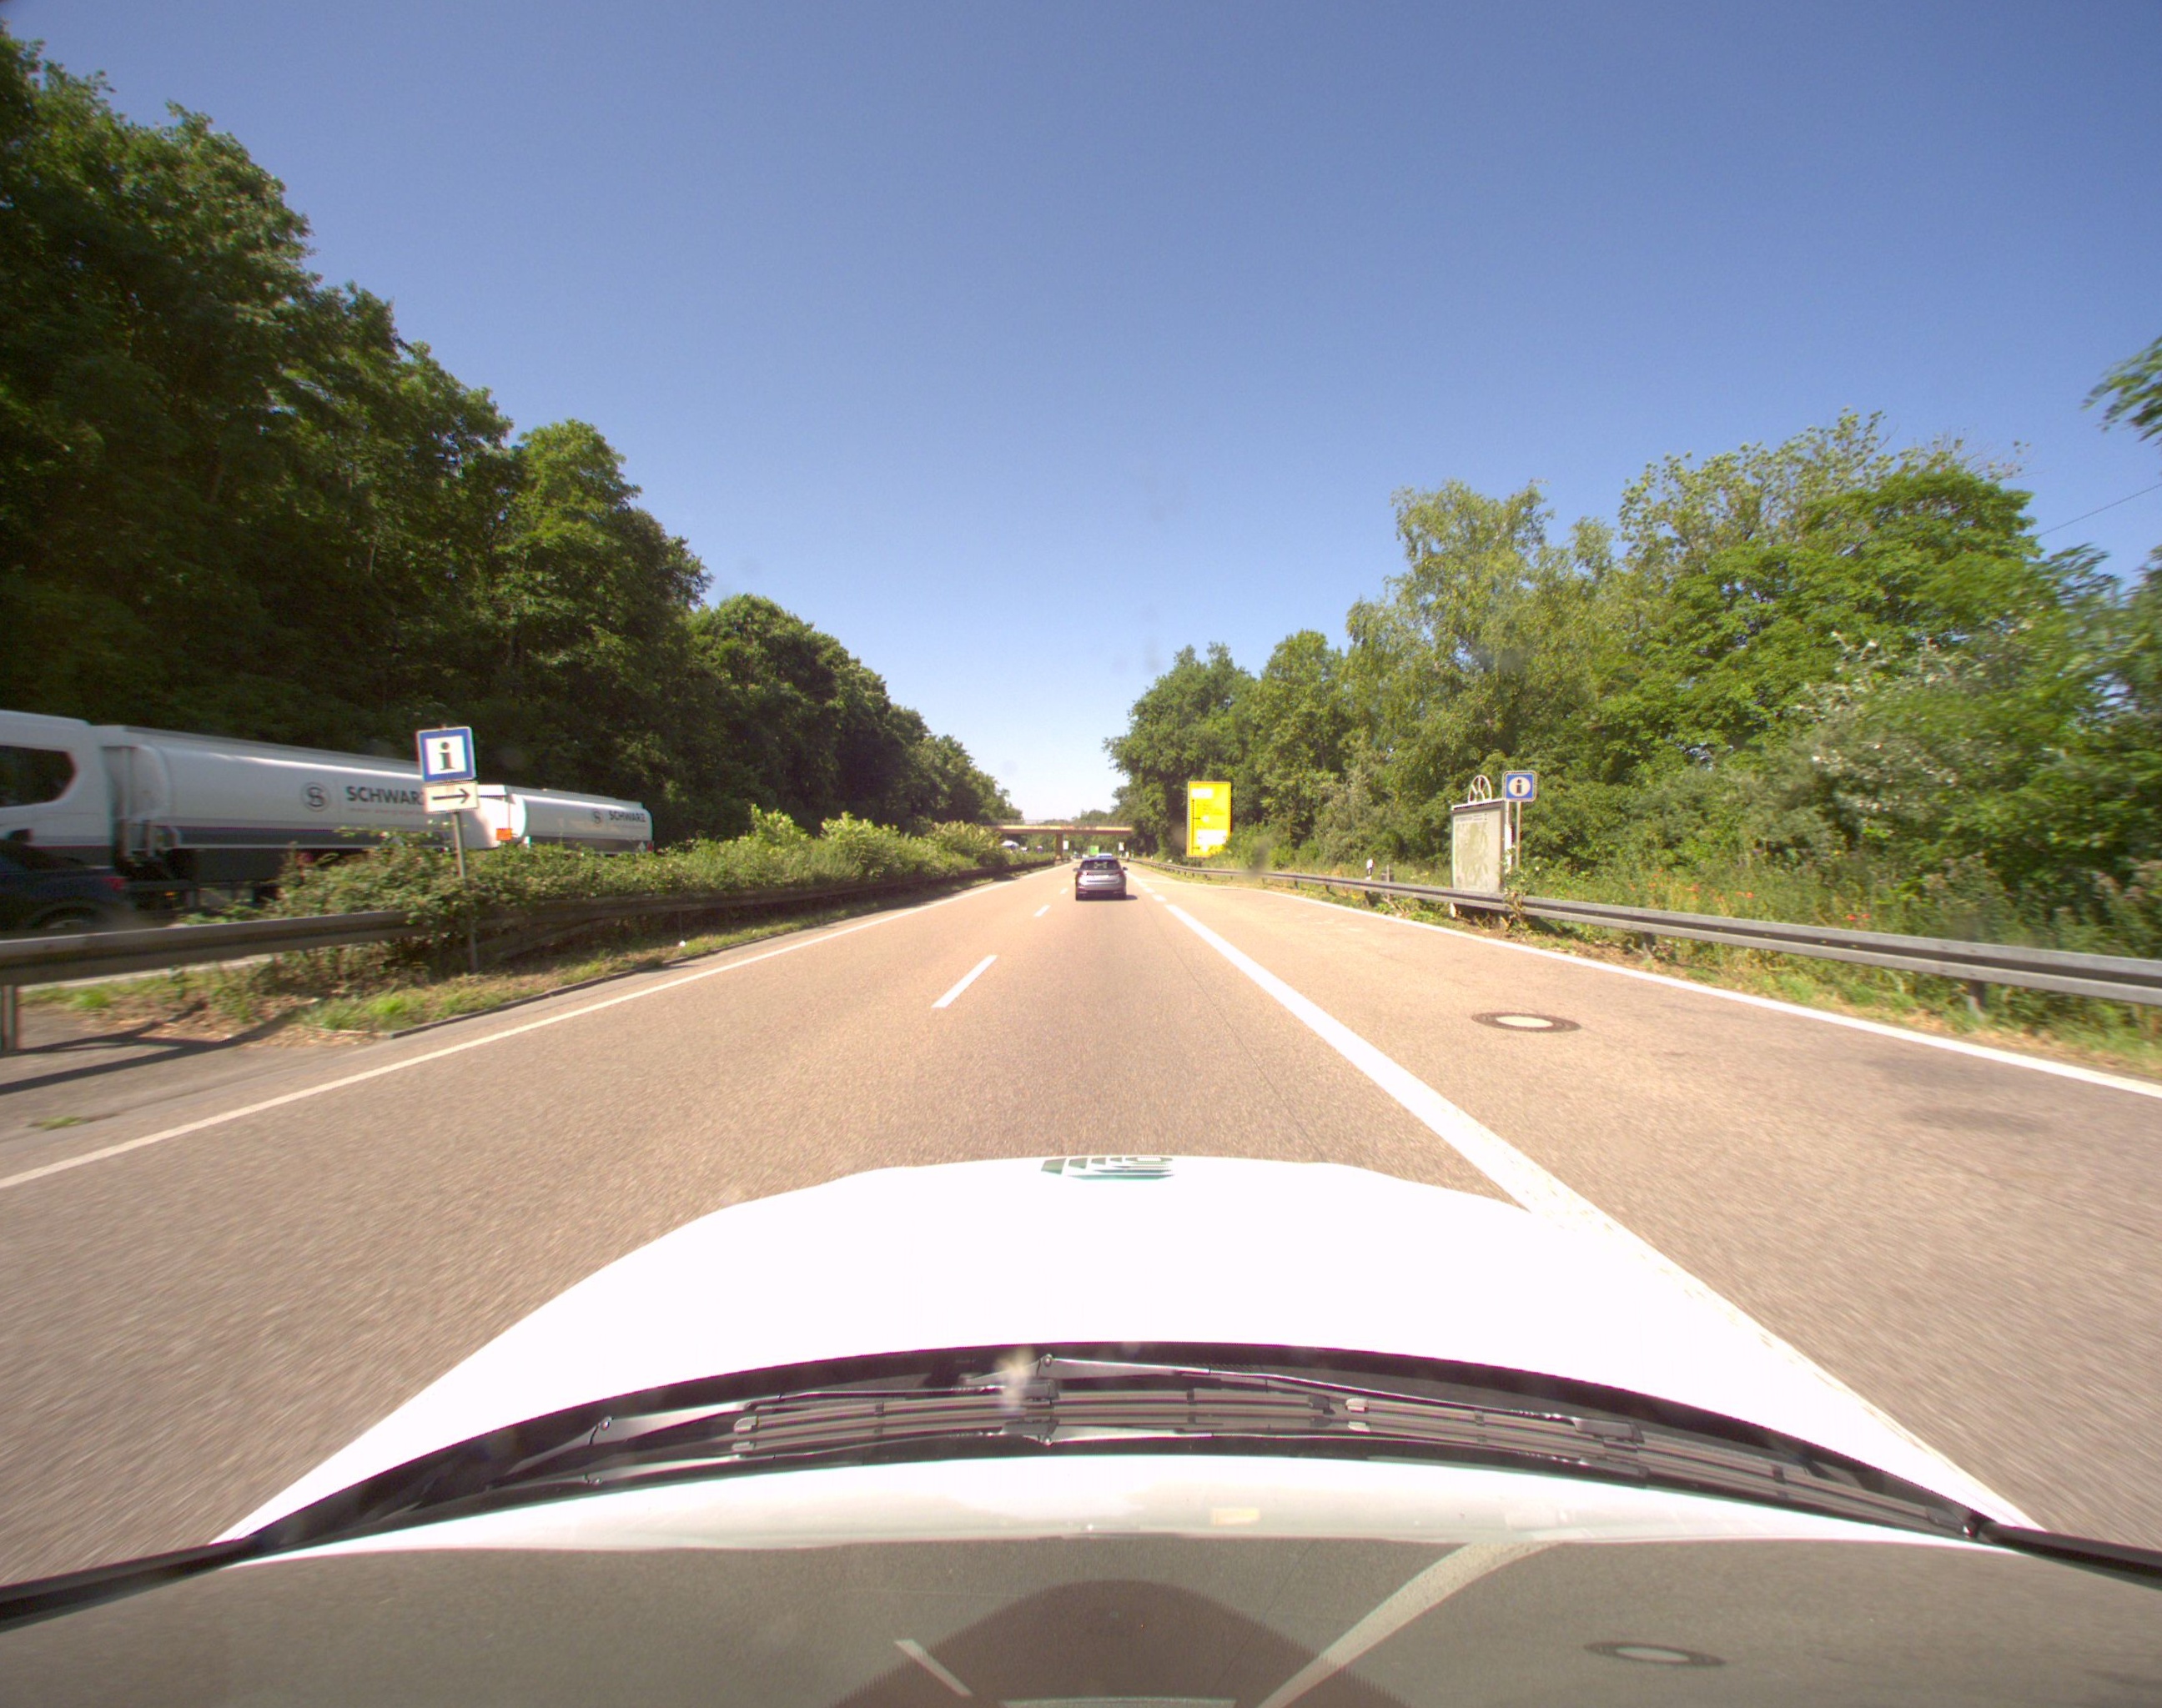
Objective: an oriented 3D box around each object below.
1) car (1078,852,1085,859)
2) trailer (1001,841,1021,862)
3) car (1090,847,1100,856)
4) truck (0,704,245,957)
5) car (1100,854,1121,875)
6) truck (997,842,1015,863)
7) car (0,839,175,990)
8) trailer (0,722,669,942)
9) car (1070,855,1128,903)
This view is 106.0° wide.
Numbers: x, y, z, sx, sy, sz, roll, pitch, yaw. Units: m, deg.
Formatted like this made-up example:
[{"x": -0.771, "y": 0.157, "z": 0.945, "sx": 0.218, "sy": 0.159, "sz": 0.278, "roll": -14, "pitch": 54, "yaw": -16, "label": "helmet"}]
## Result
[{"x": 0.239, "y": 0.536, "z": 239.302, "sx": 1.986, "sy": 2.013, "sz": 4.001, "roll": 0, "pitch": 0, "yaw": 2, "label": "car"}, {"x": -11.848, "y": -0.336, "z": 138.469, "sx": 1.986, "sy": 3.402, "sz": 11.424, "roll": 0, "pitch": 0, "yaw": 2, "label": "trailer"}, {"x": 4.187, "y": -0.631, "z": 240.017, "sx": 2.738, "sy": 2.654, "sz": 4.001, "roll": 0, "pitch": 0, "yaw": 1, "label": "car"}, {"x": -15.113, "y": -0.292, "z": 11.495, "sx": 2.416, "sy": 3.258, "sz": 4.002, "roll": 0, "pitch": 0, "yaw": 2, "label": "truck"}, {"x": 2.228, "y": 0.756, "z": 60.499, "sx": 1.516, "sy": 1.446, "sz": 3.343, "roll": 0, "pitch": 0, "yaw": 3, "label": "car"}, {"x": -12.108, "y": -0.297, "z": 131.718, "sx": 2.330, "sy": 3.342, "sz": 4.543, "roll": 0, "pitch": 0, "yaw": 2, "label": "truck"}, {"x": -11.471, "y": 0.598, "z": 7.379, "sx": 1.717, "sy": 1.480, "sz": 4.246, "roll": 0, "pitch": 0, "yaw": 1, "label": "car"}, {"x": -14.877, "y": -0.310, "z": 19.263, "sx": 2.483, "sy": 3.235, "sz": 14.437, "roll": 0, "pitch": 0, "yaw": 2, "label": "trailer"}, {"x": 0.686, "y": 0.805, "z": 27.850, "sx": 1.832, "sy": 1.472, "sz": 3.626, "roll": 0, "pitch": 0, "yaw": 3, "label": "car"}]
